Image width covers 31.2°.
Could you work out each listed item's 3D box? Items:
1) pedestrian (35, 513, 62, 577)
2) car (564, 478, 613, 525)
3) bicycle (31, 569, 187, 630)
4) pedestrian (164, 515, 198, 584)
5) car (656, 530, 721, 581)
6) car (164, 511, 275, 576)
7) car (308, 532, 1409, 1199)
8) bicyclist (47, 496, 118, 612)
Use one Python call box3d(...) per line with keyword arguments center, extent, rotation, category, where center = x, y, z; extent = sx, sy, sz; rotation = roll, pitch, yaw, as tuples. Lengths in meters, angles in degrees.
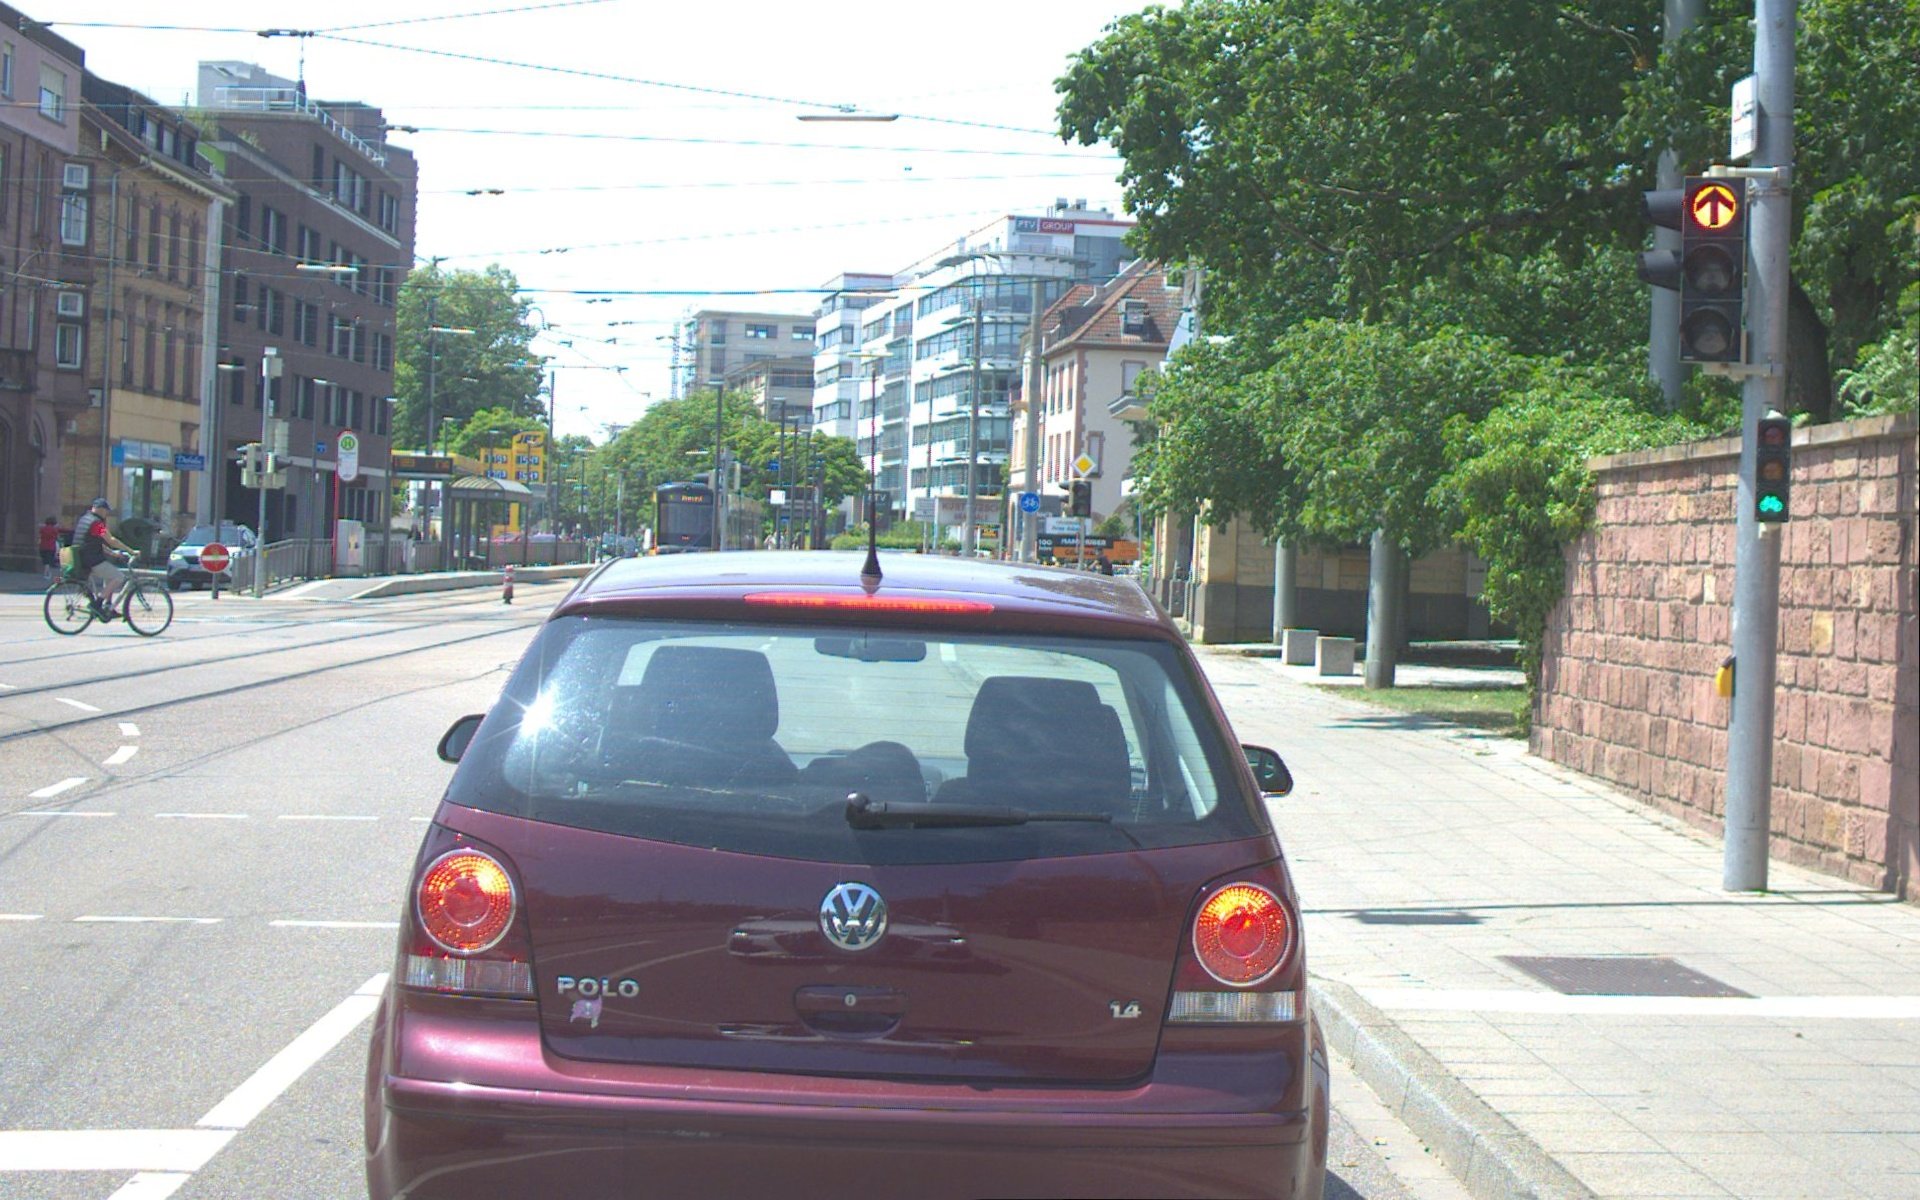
box3d(center=(-21.956, -1.325, 82.818), extent=(0.483, 1.535, 0.538), rotation=(1, 0, 2), category="pedestrian")
box3d(center=(-16.569, -4.387, 153.363), extent=(1.735, 2.007, 4.000), rotation=(2, 1, -1), category="car")
box3d(center=(-11.165, -0.006, 45.133), extent=(1.981, 0.780, 0.466), rotation=(1, 0, -40), category="bicycle")
box3d(center=(-20.437, -1.324, 90.197), extent=(0.662, 1.781, 0.815), rotation=(2, 1, -1), category="pedestrian")
box3d(center=(-9.143, -1.483, 115.949), extent=(1.938, 1.635, 4.000), rotation=(1, 0, -1), category="car")
box3d(center=(-17.583, -1.342, 81.737), extent=(1.689, 1.457, 4.000), rotation=(2, 1, 1), category="car")
box3d(center=(-0.225, 0.622, 7.192), extent=(1.610, 1.458, 4.086), rotation=(2, 1, -2), category="car")
box3d(center=(-11.455, -0.593, 44.892), extent=(0.750, 1.496, 0.482), rotation=(1, 0, -40), category="bicyclist")
